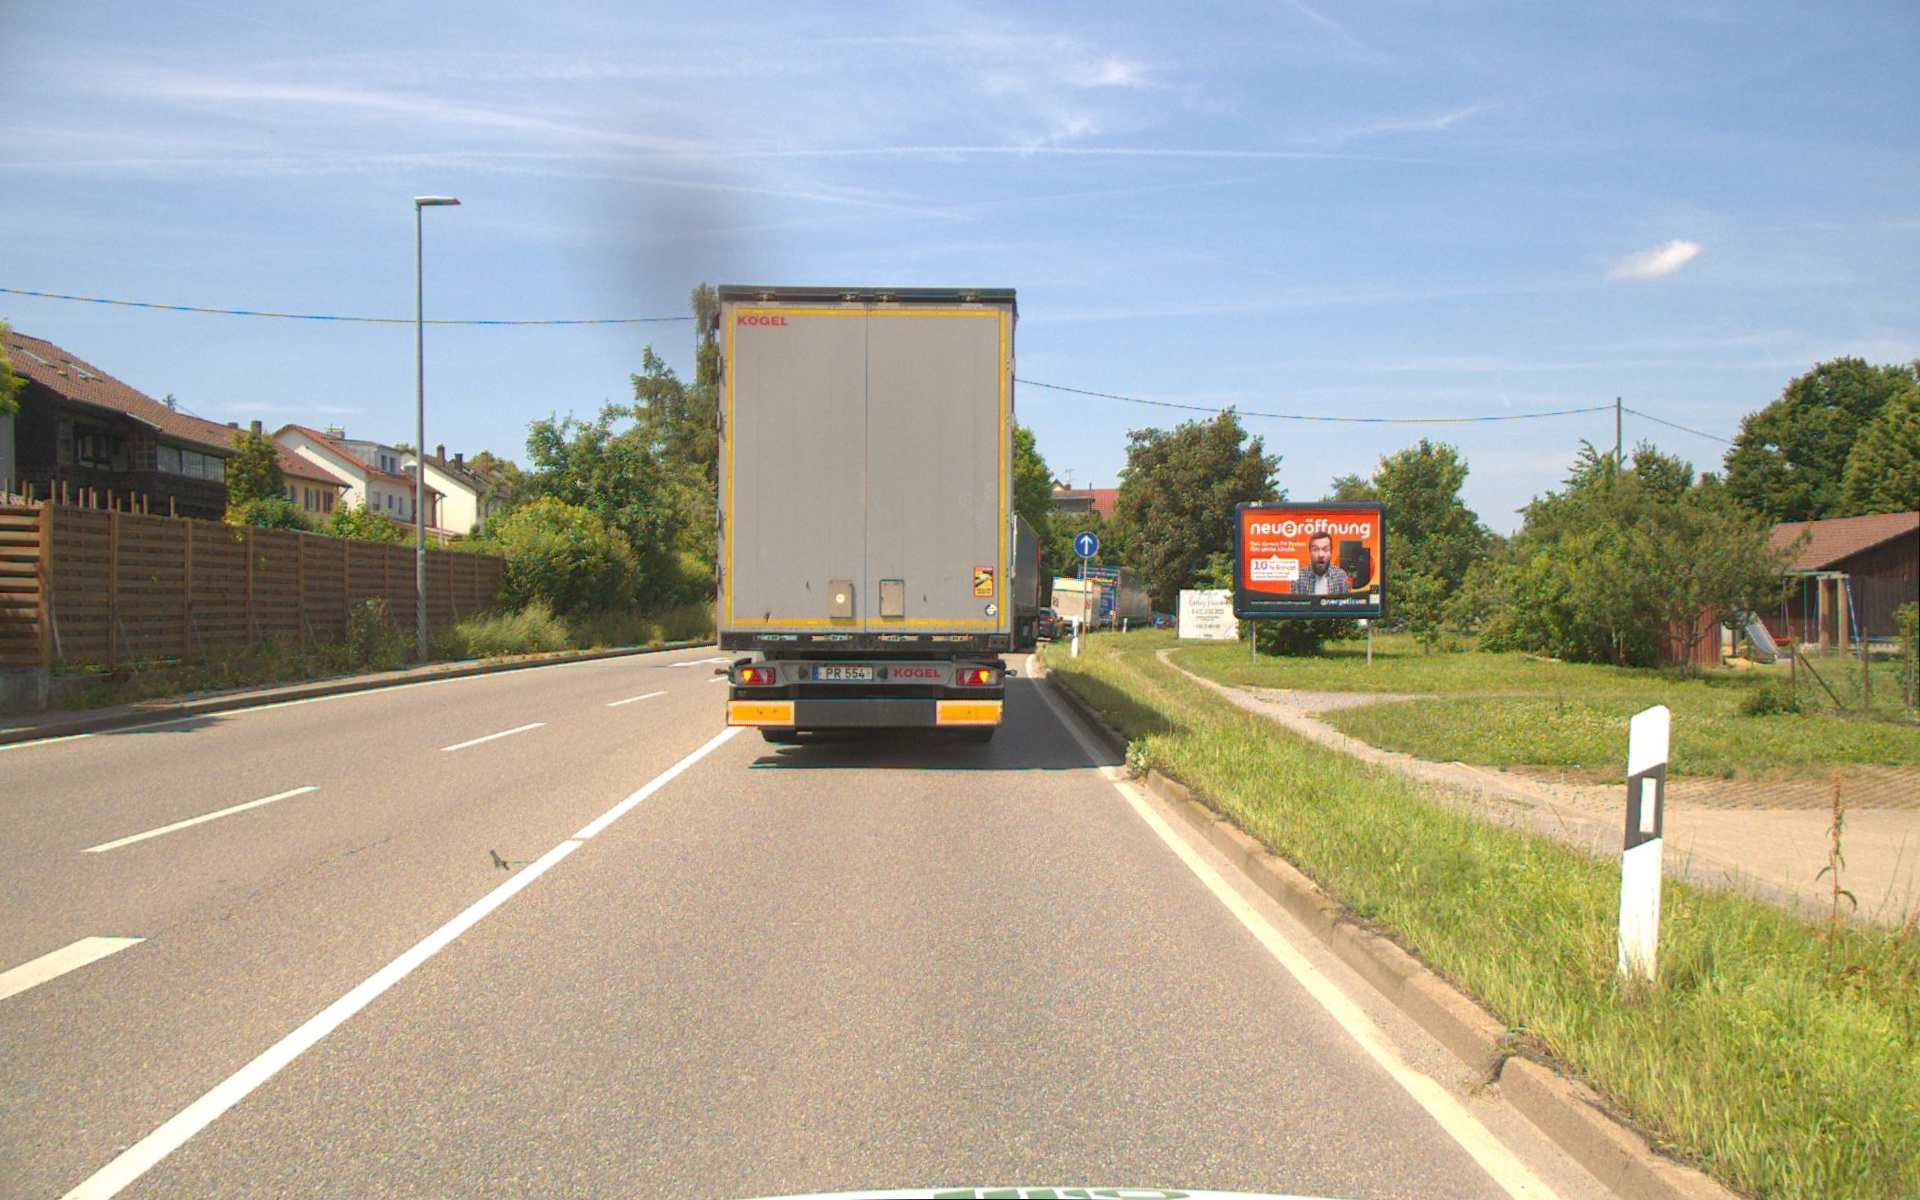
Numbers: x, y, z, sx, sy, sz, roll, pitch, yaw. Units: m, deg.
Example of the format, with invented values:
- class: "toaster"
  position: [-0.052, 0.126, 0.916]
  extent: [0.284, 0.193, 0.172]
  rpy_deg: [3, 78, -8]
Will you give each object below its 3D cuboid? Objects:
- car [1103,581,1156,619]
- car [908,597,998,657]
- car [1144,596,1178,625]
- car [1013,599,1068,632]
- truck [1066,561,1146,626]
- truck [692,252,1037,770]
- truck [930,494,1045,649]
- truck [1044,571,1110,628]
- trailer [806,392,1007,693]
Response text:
- class: "car"
  position: [11.016, -0.004, 107.099]
  extent: [2.478, 2.317, 6.386]
  rpy_deg: [1, 0, 14]
- class: "car"
  position: [-0.122, 0.652, 40.278]
  extent: [1.780, 1.370, 3.850]
  rpy_deg: [1, -1, 6]
- class: "car"
  position: [14.677, 0.803, 120.554]
  extent: [1.951, 2.049, 4.003]
  rpy_deg: [1, -1, 14]
- class: "car"
  position: [3.698, 0.701, 75.119]
  extent: [1.951, 1.400, 4.003]
  rpy_deg: [1, -1, 10]
- class: "truck"
  position: [8.763, -0.407, 98.321]
  extent: [3.359, 3.667, 9.361]
  rpy_deg: [1, 1, 13]
- class: "truck"
  position: [-0.766, -0.770, 19.300]
  extent: [2.764, 4.200, 11.443]
  rpy_deg: [1, 0, 0]
- class: "truck"
  position: [1.204, -0.719, 55.472]
  extent: [2.702, 4.364, 16.423]
  rpy_deg: [1, -1, 5]
- class: "truck"
  position: [6.194, 0.030, 86.770]
  extent: [2.489, 2.852, 6.036]
  rpy_deg: [1, -1, 13]
- class: "trailer"
  position: [-0.755, -0.825, 26.446]
  extent: [2.767, 4.183, 6.544]
  rpy_deg: [1, 0, 0]
